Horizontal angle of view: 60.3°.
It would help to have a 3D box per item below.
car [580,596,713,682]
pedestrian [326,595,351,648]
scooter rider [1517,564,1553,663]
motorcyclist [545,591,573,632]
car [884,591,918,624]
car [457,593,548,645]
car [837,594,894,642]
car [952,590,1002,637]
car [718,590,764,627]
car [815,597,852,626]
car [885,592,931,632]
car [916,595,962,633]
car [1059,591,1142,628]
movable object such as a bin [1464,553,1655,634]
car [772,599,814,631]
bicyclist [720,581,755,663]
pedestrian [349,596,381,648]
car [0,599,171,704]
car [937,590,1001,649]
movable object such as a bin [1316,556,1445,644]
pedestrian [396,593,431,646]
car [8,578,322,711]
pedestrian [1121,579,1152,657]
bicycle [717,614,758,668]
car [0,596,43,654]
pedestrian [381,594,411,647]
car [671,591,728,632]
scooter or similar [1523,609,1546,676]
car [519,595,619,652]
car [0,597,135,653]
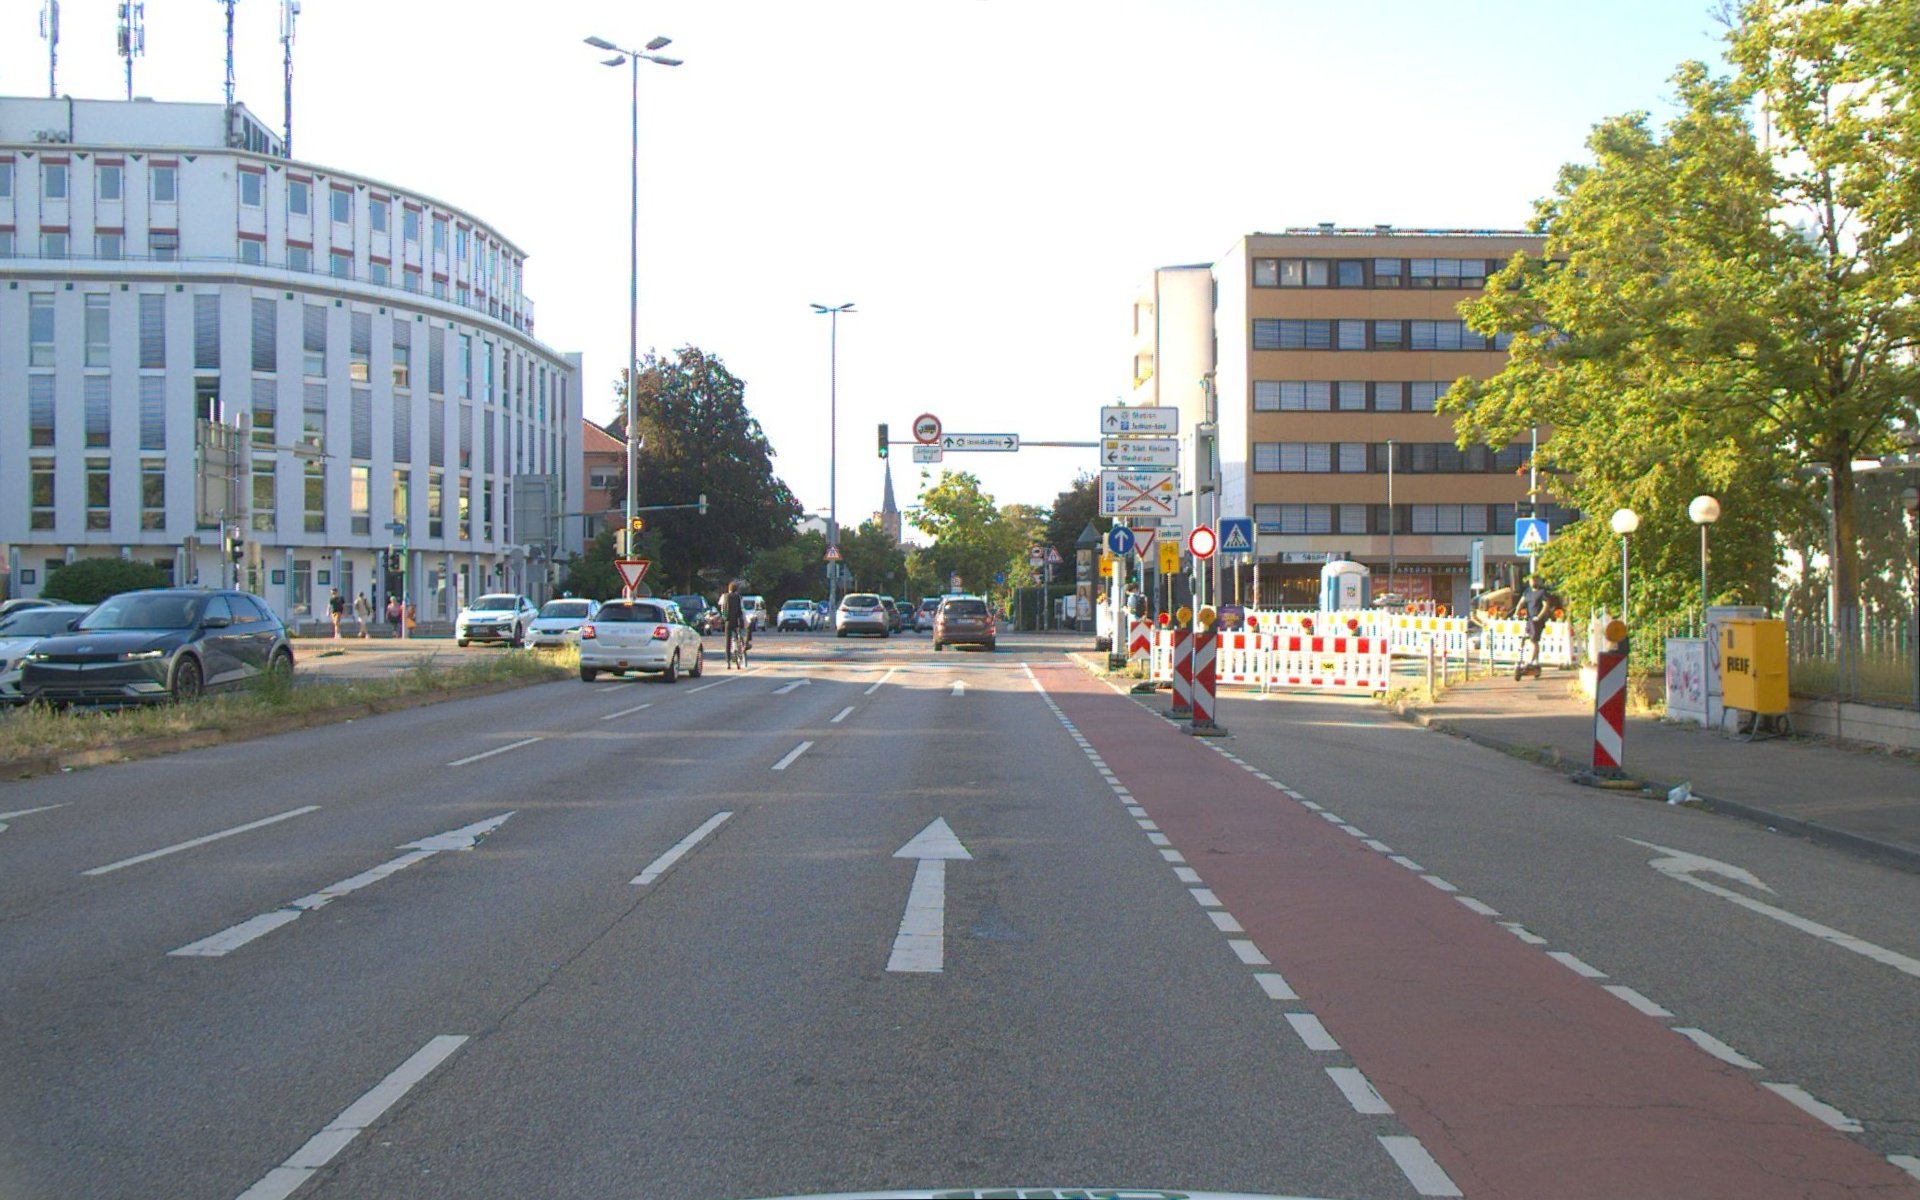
[{"bbox_3d":[-5.780,0.674,30.923,1.650,1.482,4.000,0,0,1],"label":"car"},{"bbox_3d":[-22.482,0.783,59.798,0.647,1.891,0.778,0,0,-5],"label":"pedestrian"},{"bbox_3d":[10.747,0.252,30.896,0.602,1.821,0.487,0,0,22],"label":"scooter rider"},{"bbox_3d":[-14.342,0.393,59.159,0.754,1.444,1.238,0,0,-2],"label":"motorcyclist"},{"bbox_3d":[-3.125,0.379,88.187,1.630,1.686,4.000,0,0,1],"label":"car"},{"bbox_3d":[-14.027,0.557,50.908,1.651,1.525,4.513,0,0,-2],"label":"car"},{"bbox_3d":[-3.260,0.598,57.864,1.712,1.591,4.050,0,0,1],"label":"car"},{"bbox_3d":[0.612,0.488,61.959,1.782,1.668,3.999,0,0,-1],"label":"car"},{"bbox_3d":[-11.135,0.405,84.288,1.877,1.843,4.715,0,0,-3],"label":"car"},{"bbox_3d":[-6.621,0.597,86.887,1.810,1.487,4.047,0,0,-3],"label":"car"},{"bbox_3d":[-2.139,0.486,68.846,1.712,1.591,4.050,0,0,1],"label":"car"},{"bbox_3d":[-0.945,0.654,73.862,1.953,1.534,3.999,-2,-2,-1],"label":"car"},{"bbox_3d":[7.532,0.508,88.994,4.275,1.910,1.999,0,0,-2],"label":"car"},{"bbox_3d":[19.415,-0.201,53.753,5.242,2.534,2.547,0,0,-3],"label":"movable object such as a bin"},{"bbox_3d":[-8.140,0.727,80.877,1.810,1.487,4.047,0,0,-3],"label":"car"},{"bbox_3d":[-4.824,0.470,35.902,0.677,1.758,0.987,0,0,-3],"label":"bicyclist"},{"bbox_3d":[-21.604,0.780,60.044,0.742,1.874,0.819,0,0,13],"label":"pedestrian"},{"bbox_3d":[-14.037,0.729,25.033,1.952,1.438,4.444,-1,0,1],"label":"car"},{"bbox_3d":[0.262,0.520,46.739,1.712,1.591,4.050,0,0,1],"label":"car"},{"bbox_3d":[11.902,0.006,46.958,3.260,2.425,1.529,0,0,-1],"label":"movable object such as a bin"},{"bbox_3d":[-19.689,0.696,59.620,0.614,1.901,1.127,0,0,21],"label":"pedestrian"},{"bbox_3d":[-10.572,0.543,22.491,1.953,1.606,4.898,0,0,-1],"label":"car"},{"bbox_3d":[4.181,0.432,39.198,0.725,1.831,0.716,0,0,6],"label":"pedestrian"},{"bbox_3d":[-4.827,0.882,36.031,0.686,1.119,2.257,0,0,-3],"label":"bicycle"},{"bbox_3d":[-29.396,0.734,48.216,4.253,1.657,2.001,0,0,4],"label":"car"},{"bbox_3d":[-20.437,0.725,59.945,0.647,1.901,0.778,0,0,25],"label":"pedestrian"},{"bbox_3d":[-10.016,0.427,63.770,1.624,1.521,3.999,0,0,-1],"label":"car"},{"bbox_3d":[10.728,0.782,30.883,0.323,1.215,1.250,0,0,22],"label":"scooter or similar"},{"bbox_3d":[-10.232,0.587,43.532,1.650,1.417,4.180,0,0,0],"label":"car"},{"bbox_3d":[-27.782,0.785,51.004,3.732,1.557,1.862,-2,-2,-3],"label":"car"}]
